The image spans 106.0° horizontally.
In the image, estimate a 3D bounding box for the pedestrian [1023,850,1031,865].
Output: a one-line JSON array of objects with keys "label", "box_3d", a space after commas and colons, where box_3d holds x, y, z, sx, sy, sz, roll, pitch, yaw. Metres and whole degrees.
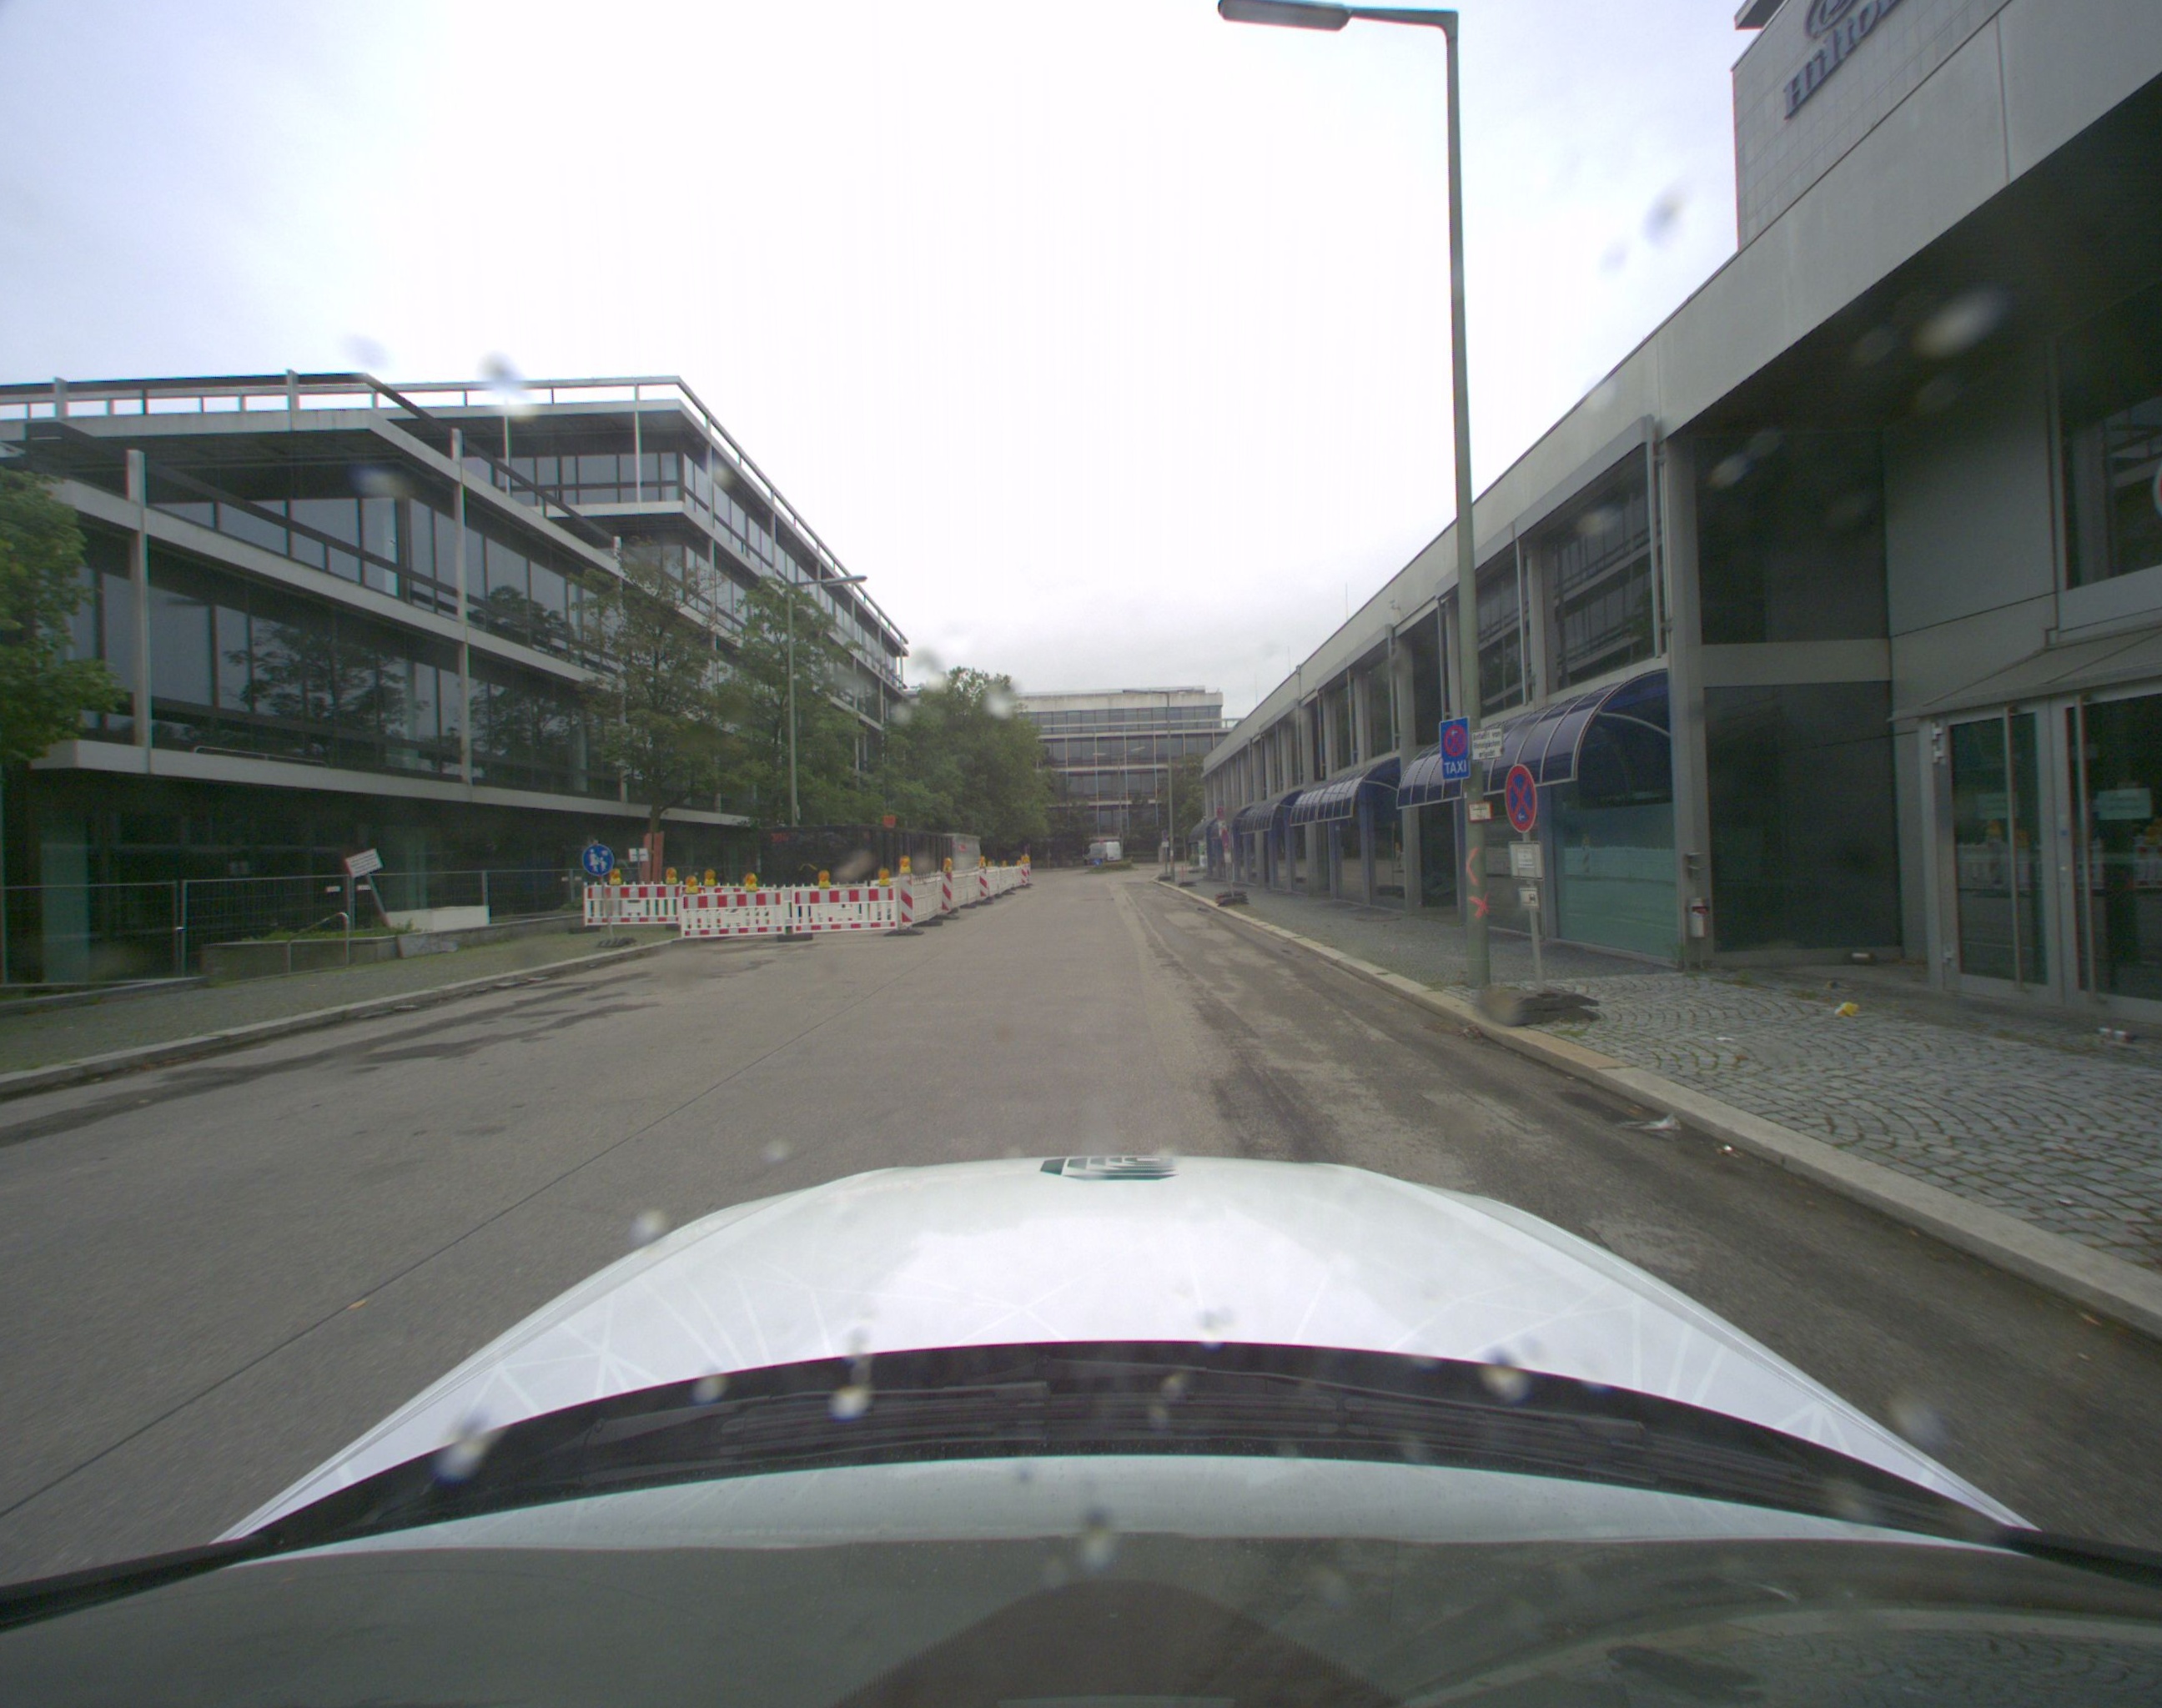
[{"label": "pedestrian", "box_3d": [-6.218, 0.450, 93.612, 0.743, 1.677, 0.678, -2, 0, -18]}]

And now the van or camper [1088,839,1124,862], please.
[{"label": "van or camper", "box_3d": [2.834, -0.388, 94.739, 2.095, 2.492, 5.026, -2, 0, -24]}]
